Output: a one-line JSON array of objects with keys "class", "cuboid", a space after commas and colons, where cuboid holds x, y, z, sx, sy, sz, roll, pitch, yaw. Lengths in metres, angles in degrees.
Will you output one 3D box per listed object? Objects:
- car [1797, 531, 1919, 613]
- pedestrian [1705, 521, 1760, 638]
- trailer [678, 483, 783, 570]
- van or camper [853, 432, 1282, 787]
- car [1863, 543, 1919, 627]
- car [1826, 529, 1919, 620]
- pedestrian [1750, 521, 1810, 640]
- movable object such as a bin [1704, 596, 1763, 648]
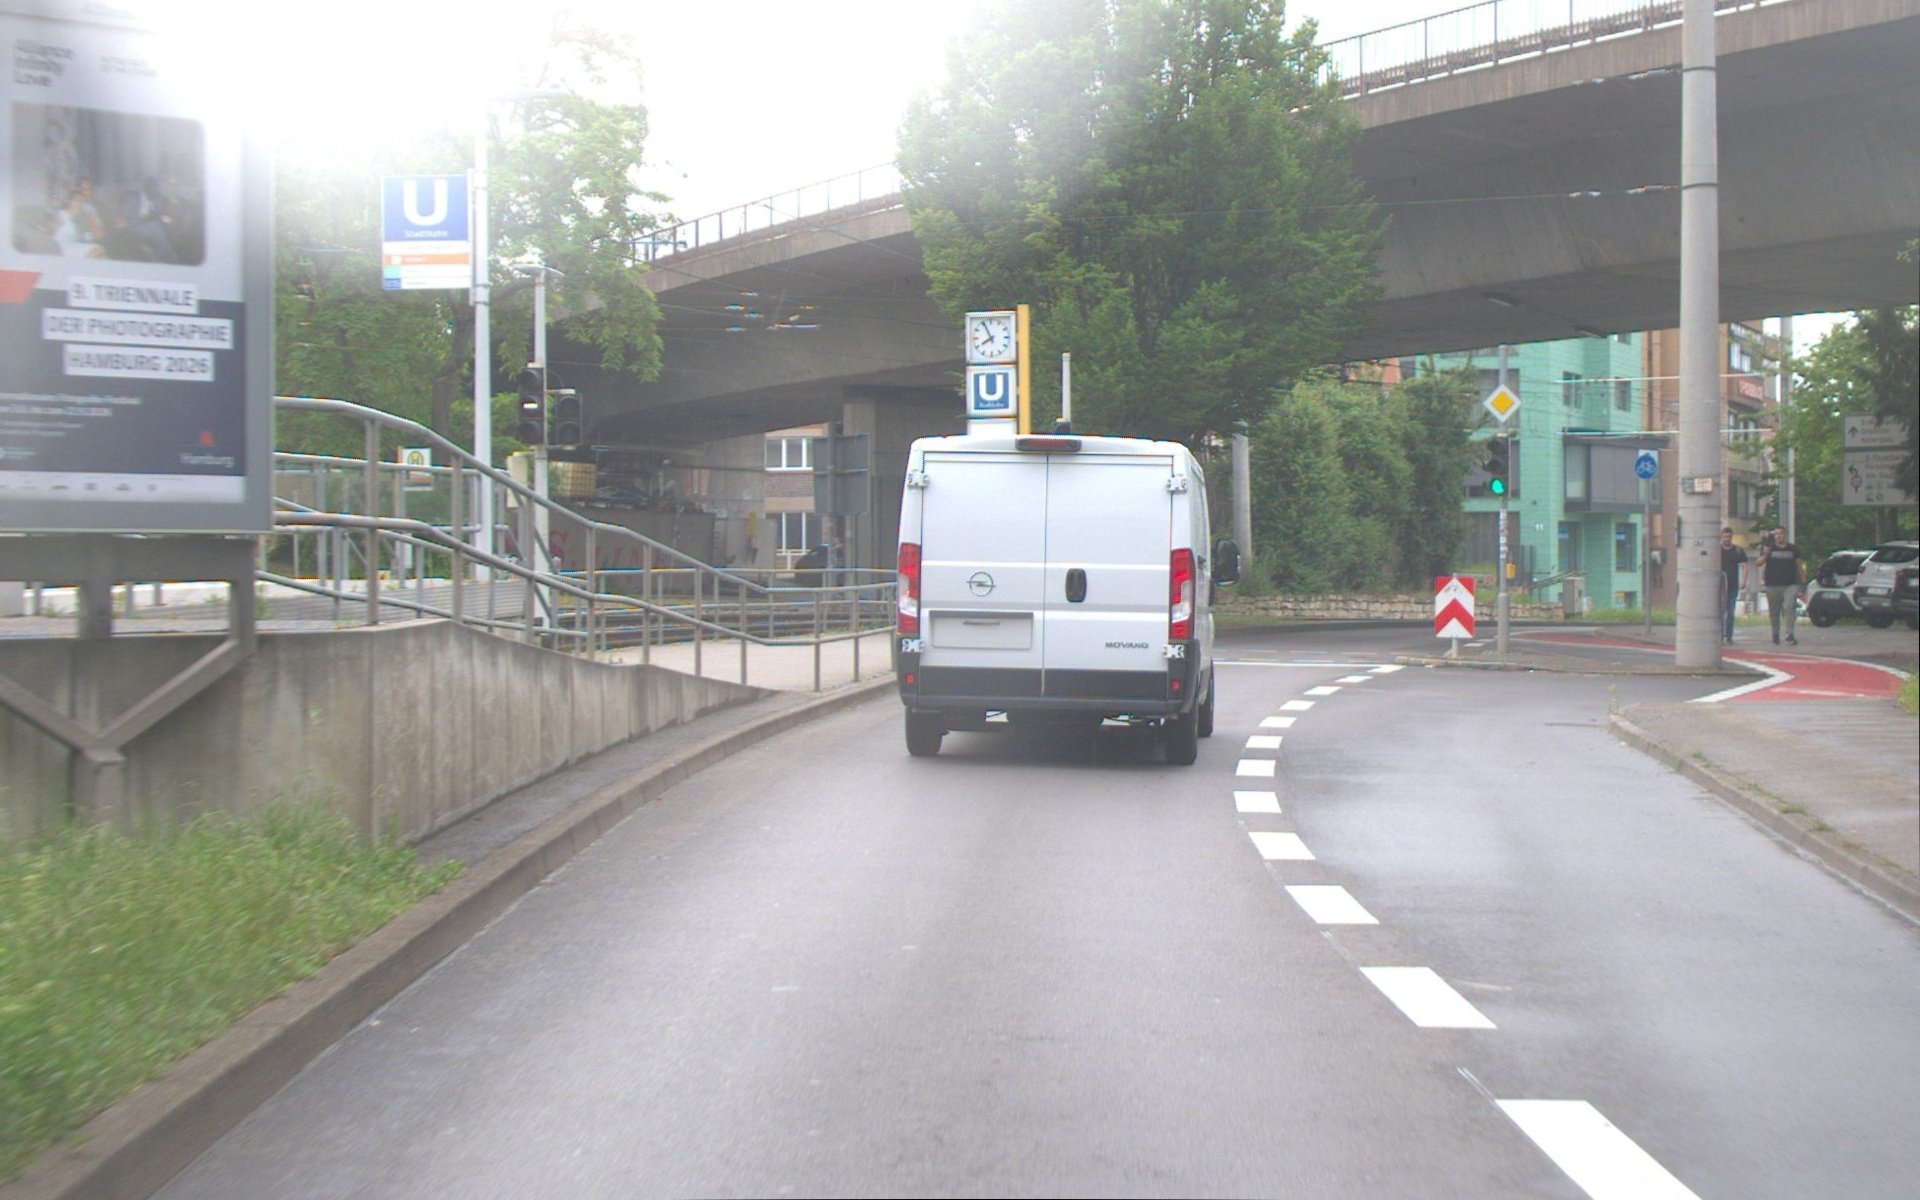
[{"class": "car", "cuboid": [18.139, -0.522, 66.040, 3.723, 1.517, 1.803, 1, 1, -29]}, {"class": "pedestrian", "cuboid": [12.131, -0.319, 53.981, 0.625, 1.802, 0.836, 3, 0, 3]}, {"class": "trailer", "cuboid": [-7.499, -2.389, 112.158, 1.993, 2.716, 4.124, 2, 0, -25]}, {"class": "van or camper", "cuboid": [0.911, 0.064, 24.988, 2.200, 2.245, 4.681, 3, 0, 12]}, {"class": "car", "cuboid": [18.064, -0.230, 60.541, 4.036, 1.434, 1.787, 1, 1, -29]}, {"class": "car", "cuboid": [18.217, -0.452, 63.476, 4.010, 1.625, 1.967, 1, 1, -29]}, {"class": "pedestrian", "cuboid": [12.869, -0.308, 53.968, 0.597, 1.816, 0.909, 3, 0, -2]}, {"class": "movable object such as a bin", "cuboid": [33.889, 0.960, 150.672, 2.136, 2.149, 1.800, 3, 2, 24]}]
